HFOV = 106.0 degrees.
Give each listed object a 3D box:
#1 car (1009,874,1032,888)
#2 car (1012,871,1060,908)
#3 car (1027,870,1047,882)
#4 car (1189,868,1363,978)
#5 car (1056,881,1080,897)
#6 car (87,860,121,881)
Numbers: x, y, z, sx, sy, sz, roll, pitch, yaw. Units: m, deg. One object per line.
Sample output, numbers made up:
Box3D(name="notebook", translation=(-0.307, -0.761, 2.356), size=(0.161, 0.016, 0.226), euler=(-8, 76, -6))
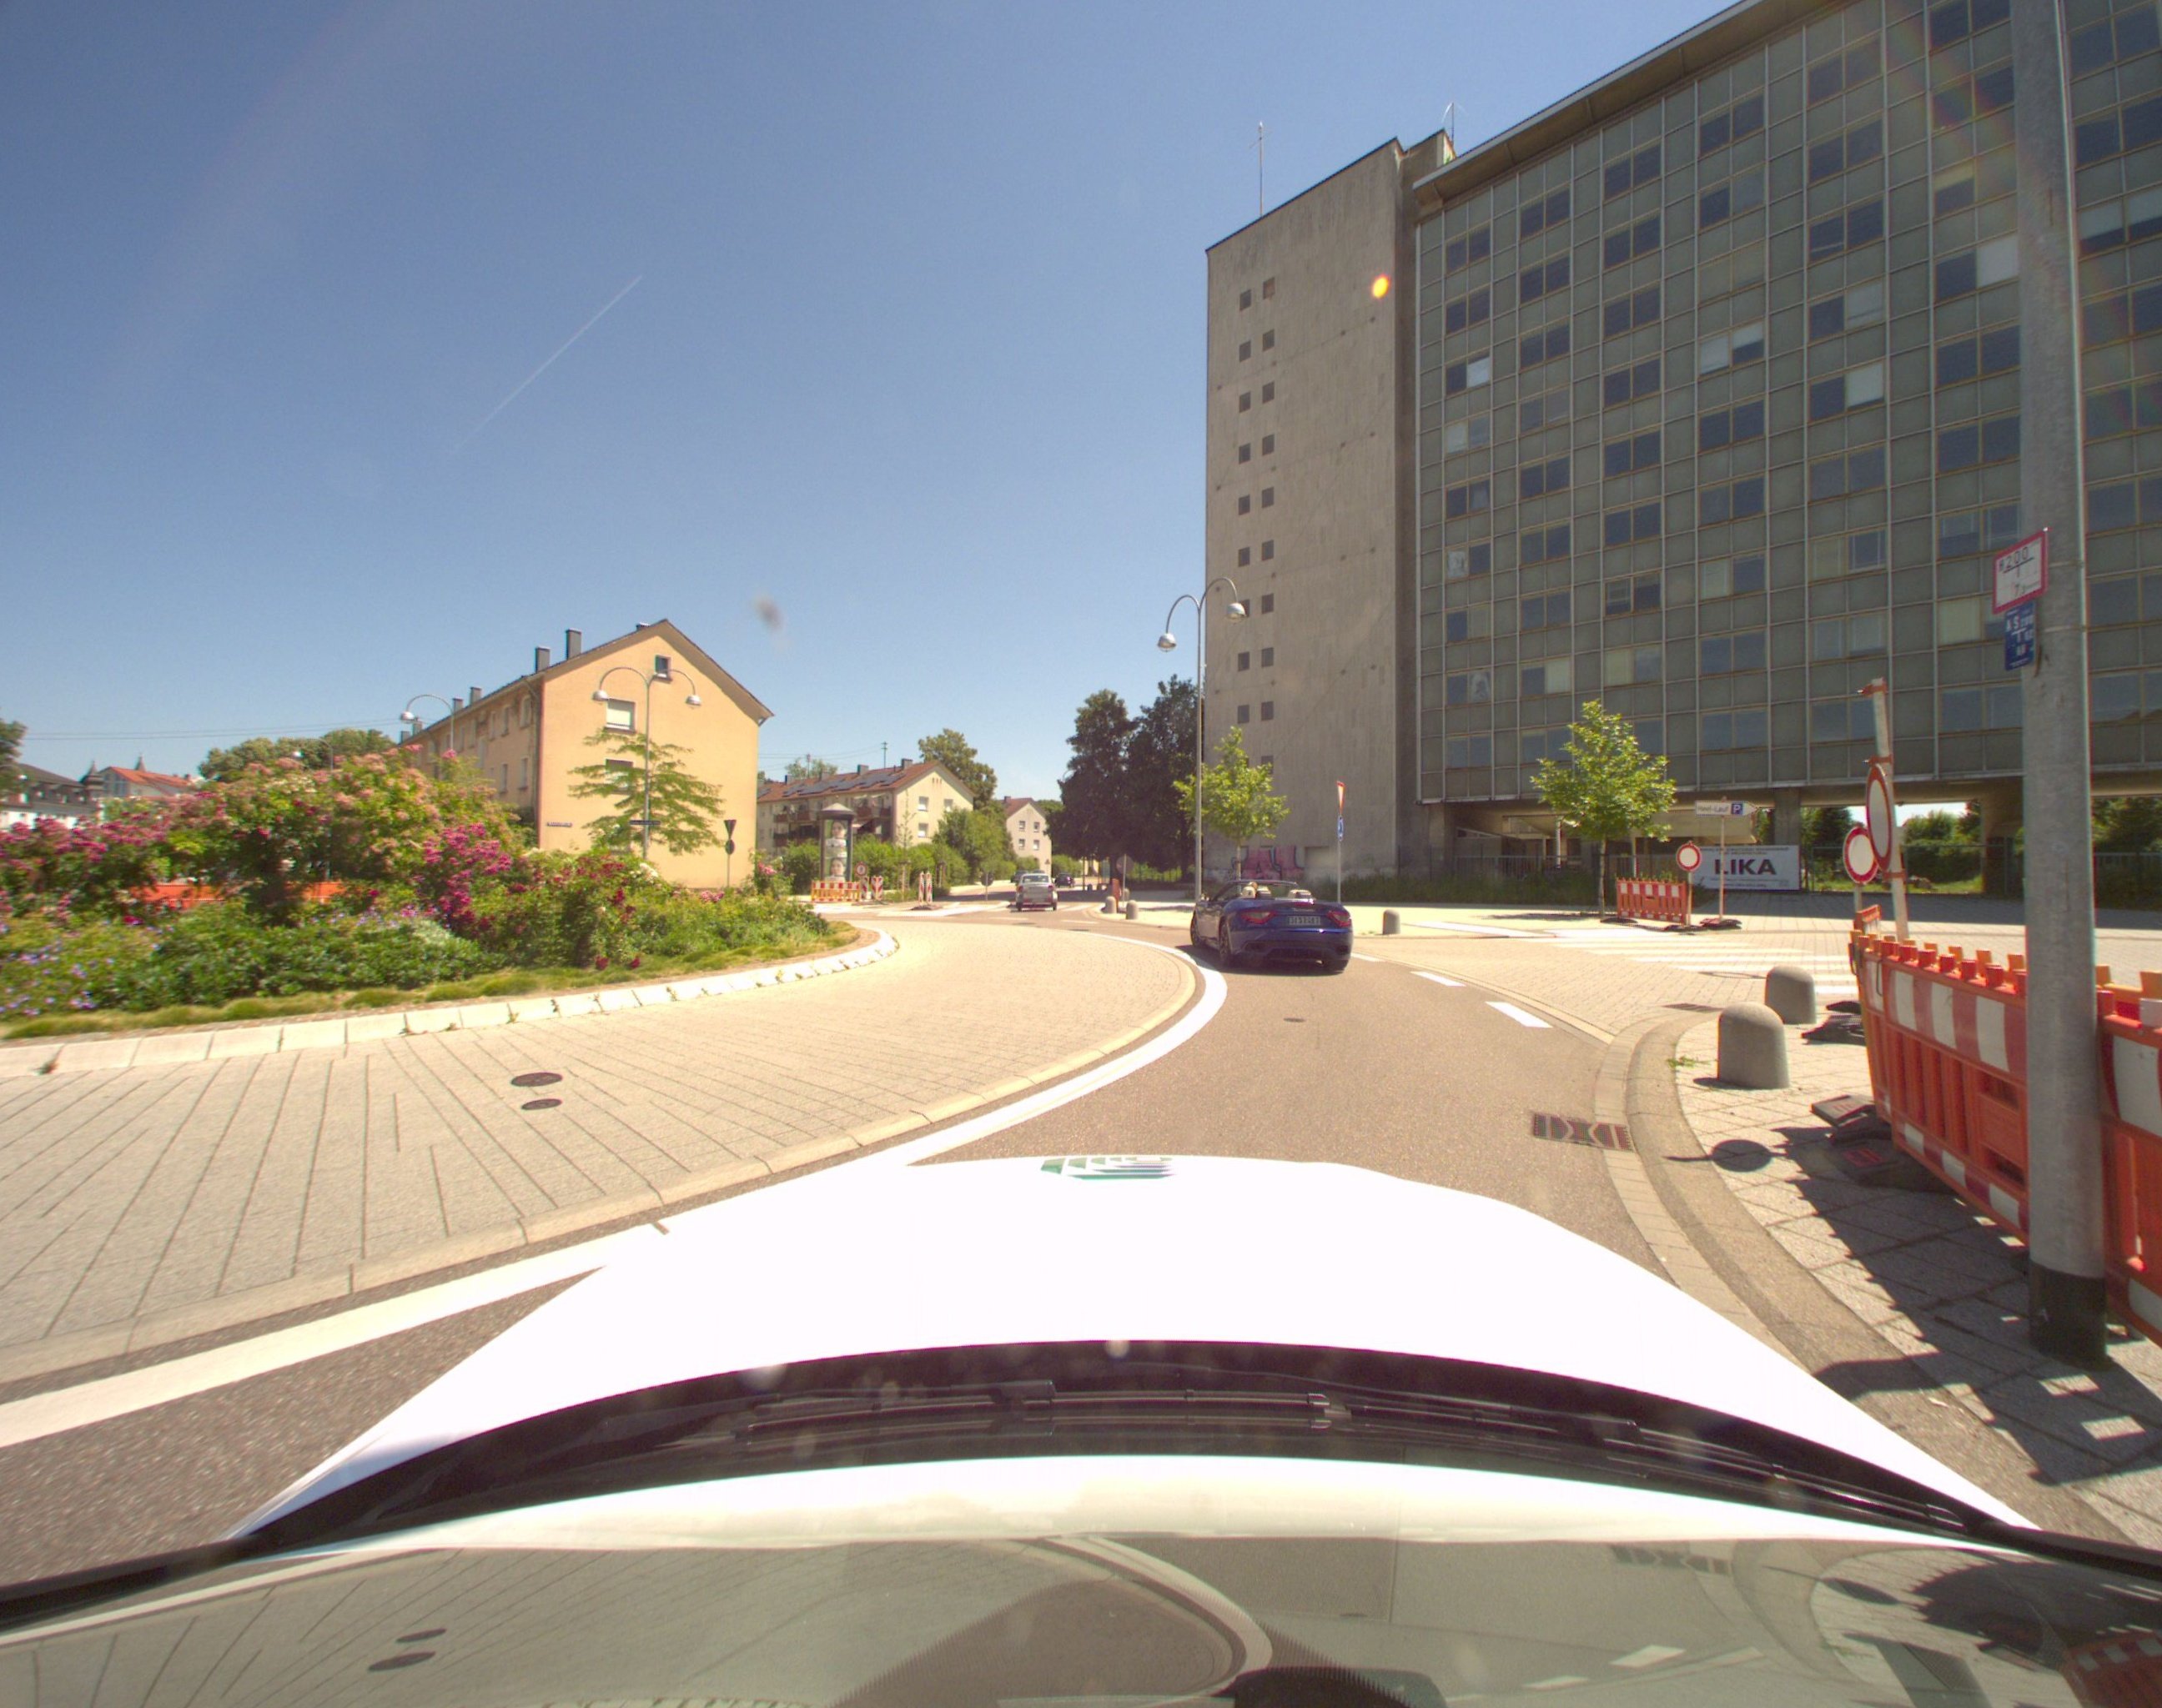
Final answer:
Box3D(name="car", translation=(-6.870, 3.031, 92.434), size=(1.728, 1.436, 3.720), euler=(-1, -1, 9))
Box3D(name="car", translation=(-1.974, 1.453, 34.535), size=(1.737, 1.436, 3.700), euler=(-1, -1, -8))
Box3D(name="car", translation=(-5.628, 2.854, 104.879), size=(1.728, 1.436, 3.720), euler=(-1, -1, 9))
Box3D(name="car", translation=(3.034, 1.072, 13.686), size=(1.865, 1.530, 4.505), euler=(0, -3, 0))
Box3D(name="car", translation=(-1.265, 3.391, 79.008), size=(1.728, 1.436, 3.719), euler=(-1, -1, 9))
Box3D(name="car", translation=(-88.091, 1.459, 73.424), size=(3.949, 1.794, 1.829), euler=(-1, -4, 40))
